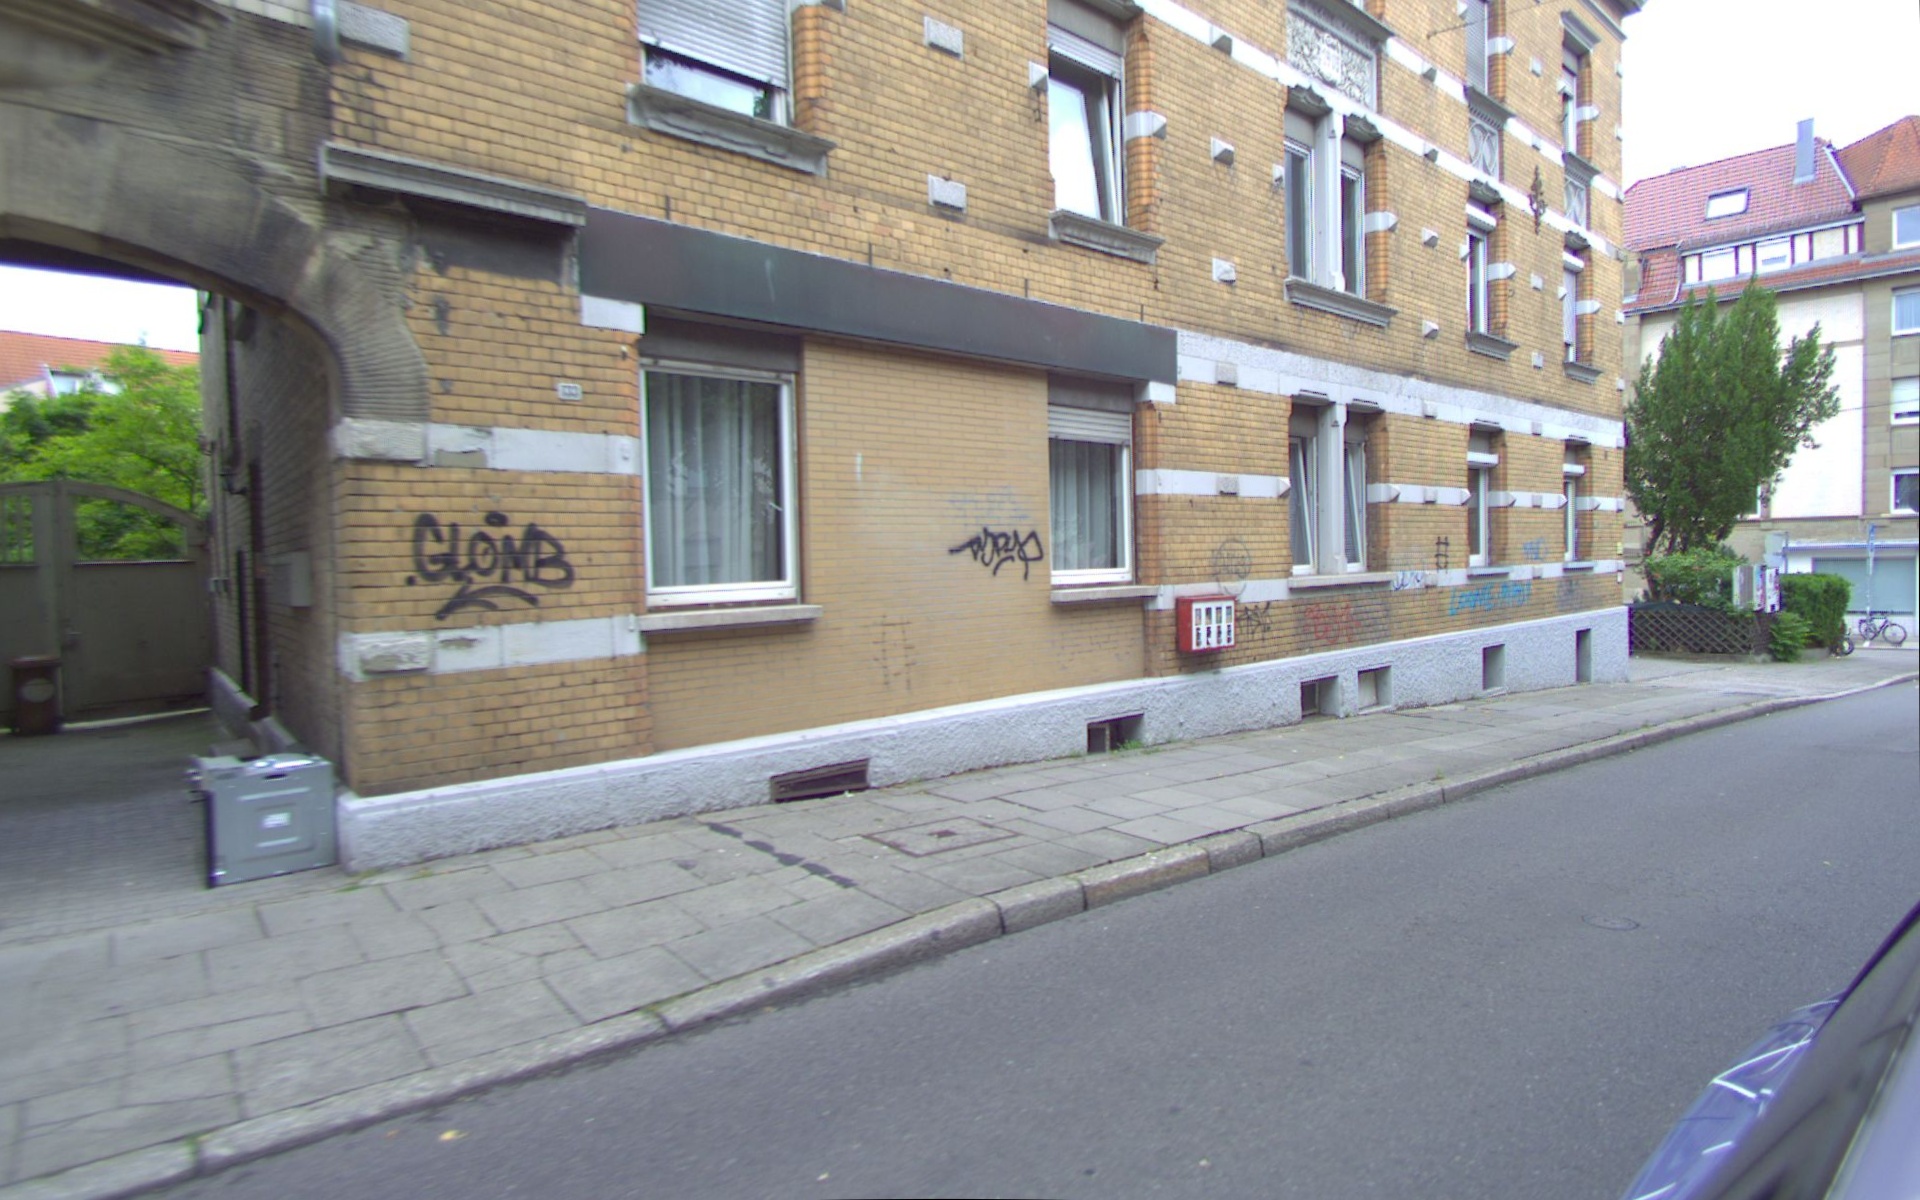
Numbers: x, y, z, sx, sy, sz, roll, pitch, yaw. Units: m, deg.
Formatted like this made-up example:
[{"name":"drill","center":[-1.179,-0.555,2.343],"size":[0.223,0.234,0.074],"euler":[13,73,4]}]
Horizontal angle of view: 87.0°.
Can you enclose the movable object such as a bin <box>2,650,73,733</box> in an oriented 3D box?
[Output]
[{"name":"movable object such as a bin","center":[-11.082,1.088,12.174],"size":[0.590,0.903,0.567],"euler":[-2,1,-41]}]

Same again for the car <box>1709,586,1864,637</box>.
[{"name":"car","center":[30.776,0.393,37.756],"size":[4.362,1.665,1.760],"euler":[-1,4,43]}]

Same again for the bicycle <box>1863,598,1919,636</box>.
[{"name":"bicycle","center":[33.195,0.590,35.960],"size":[0.631,1.153,2.071],"euler":[-3,4,10]}]

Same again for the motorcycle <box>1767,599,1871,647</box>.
[{"name":"motorcycle","center":[23.980,0.633,28.286],"size":[0.992,1.284,2.059],"euler":[0,-1,-40]}]
